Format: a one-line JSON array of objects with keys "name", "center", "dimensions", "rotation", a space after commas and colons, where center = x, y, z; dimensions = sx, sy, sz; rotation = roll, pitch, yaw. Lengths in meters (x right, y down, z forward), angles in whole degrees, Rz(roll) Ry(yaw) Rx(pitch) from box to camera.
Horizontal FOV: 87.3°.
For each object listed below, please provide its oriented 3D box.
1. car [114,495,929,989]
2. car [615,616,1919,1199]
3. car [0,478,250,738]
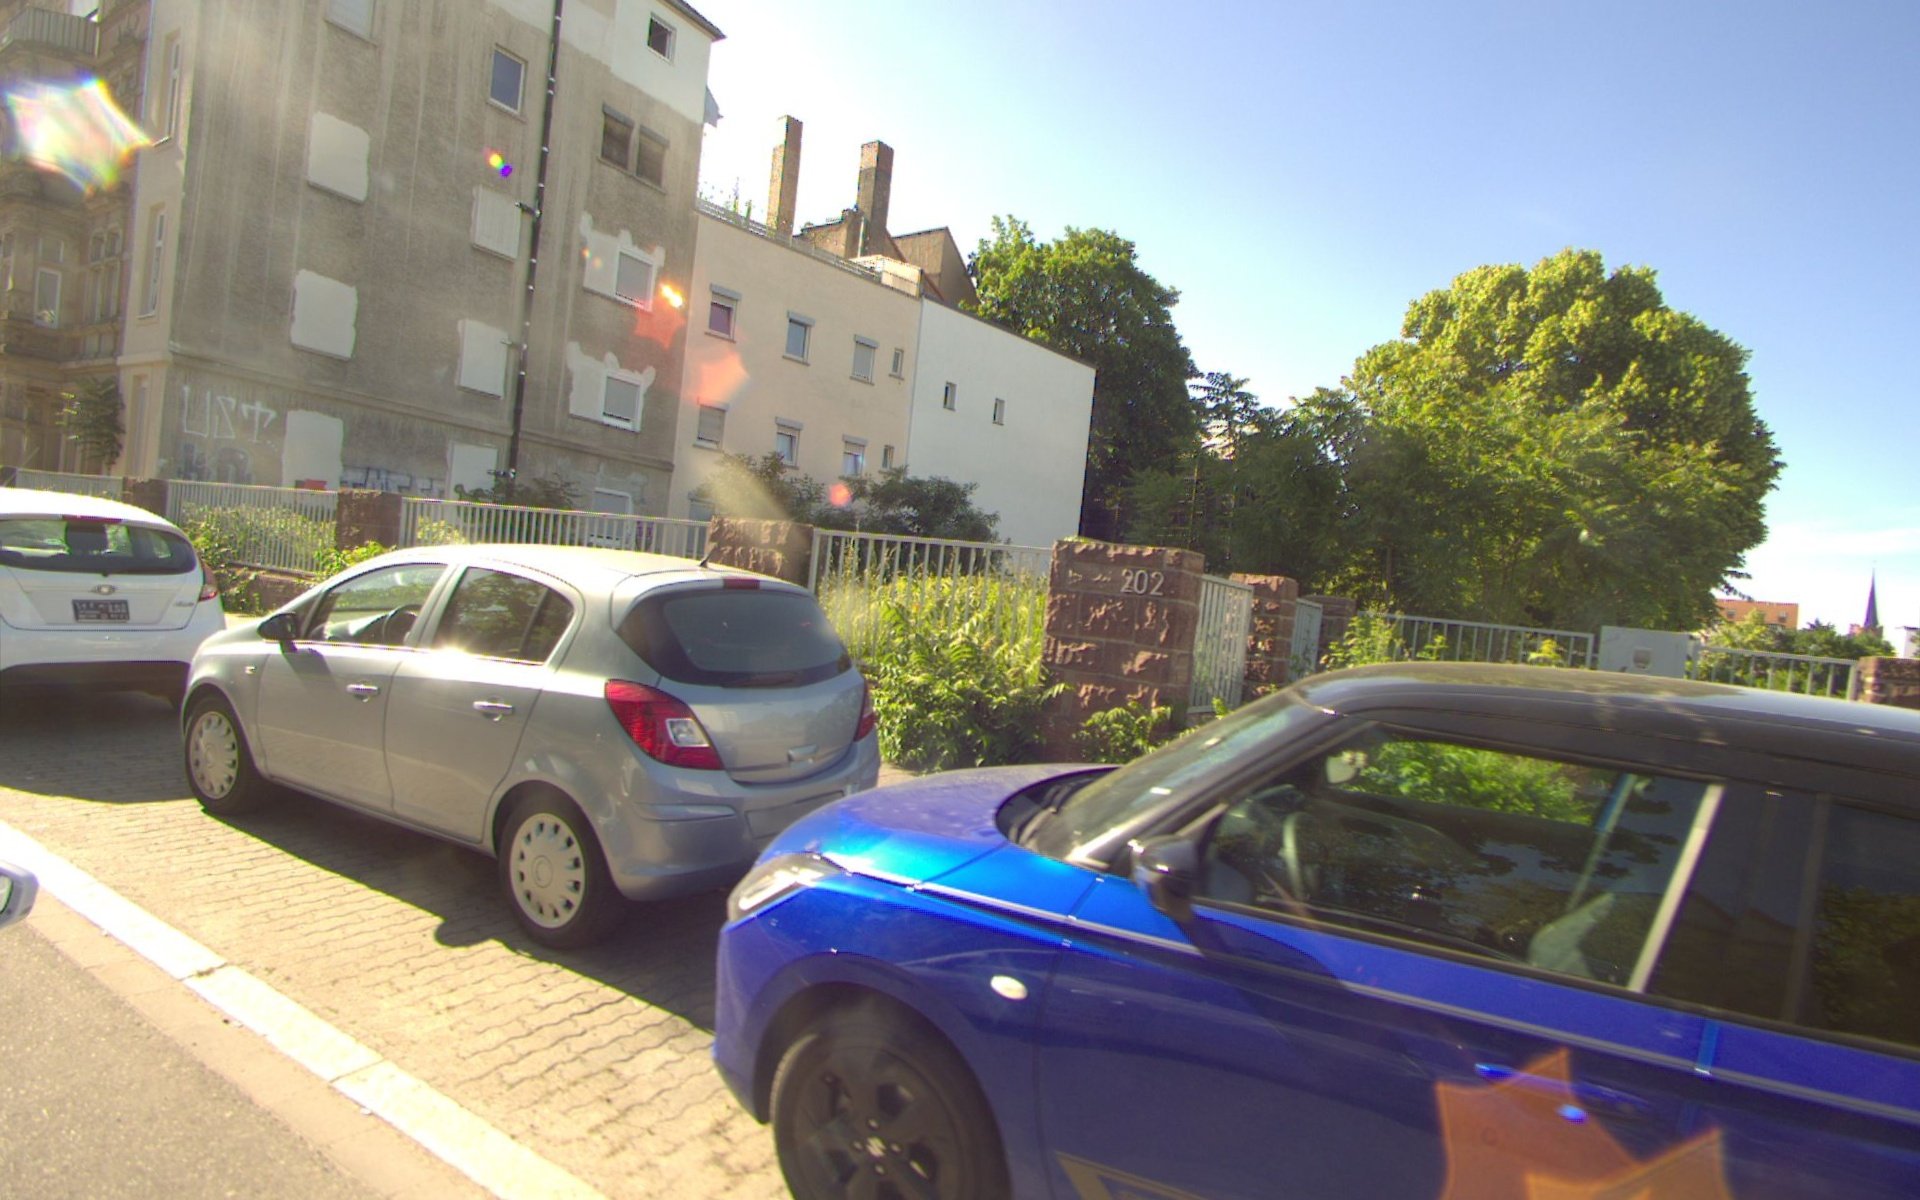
[{"name": "car", "center": [-2.312, 0.400, 5.078], "dimensions": [3.917, 1.480, 1.668], "rotation": [7, 4, 28]}, {"name": "car", "center": [1.204, 0.856, 2.355], "dimensions": [3.835, 1.199, 1.668], "rotation": [7, 4, 30]}, {"name": "car", "center": [-6.839, -0.109, 7.133], "dimensions": [3.597, 1.466, 1.608], "rotation": [7, 4, 31]}]
